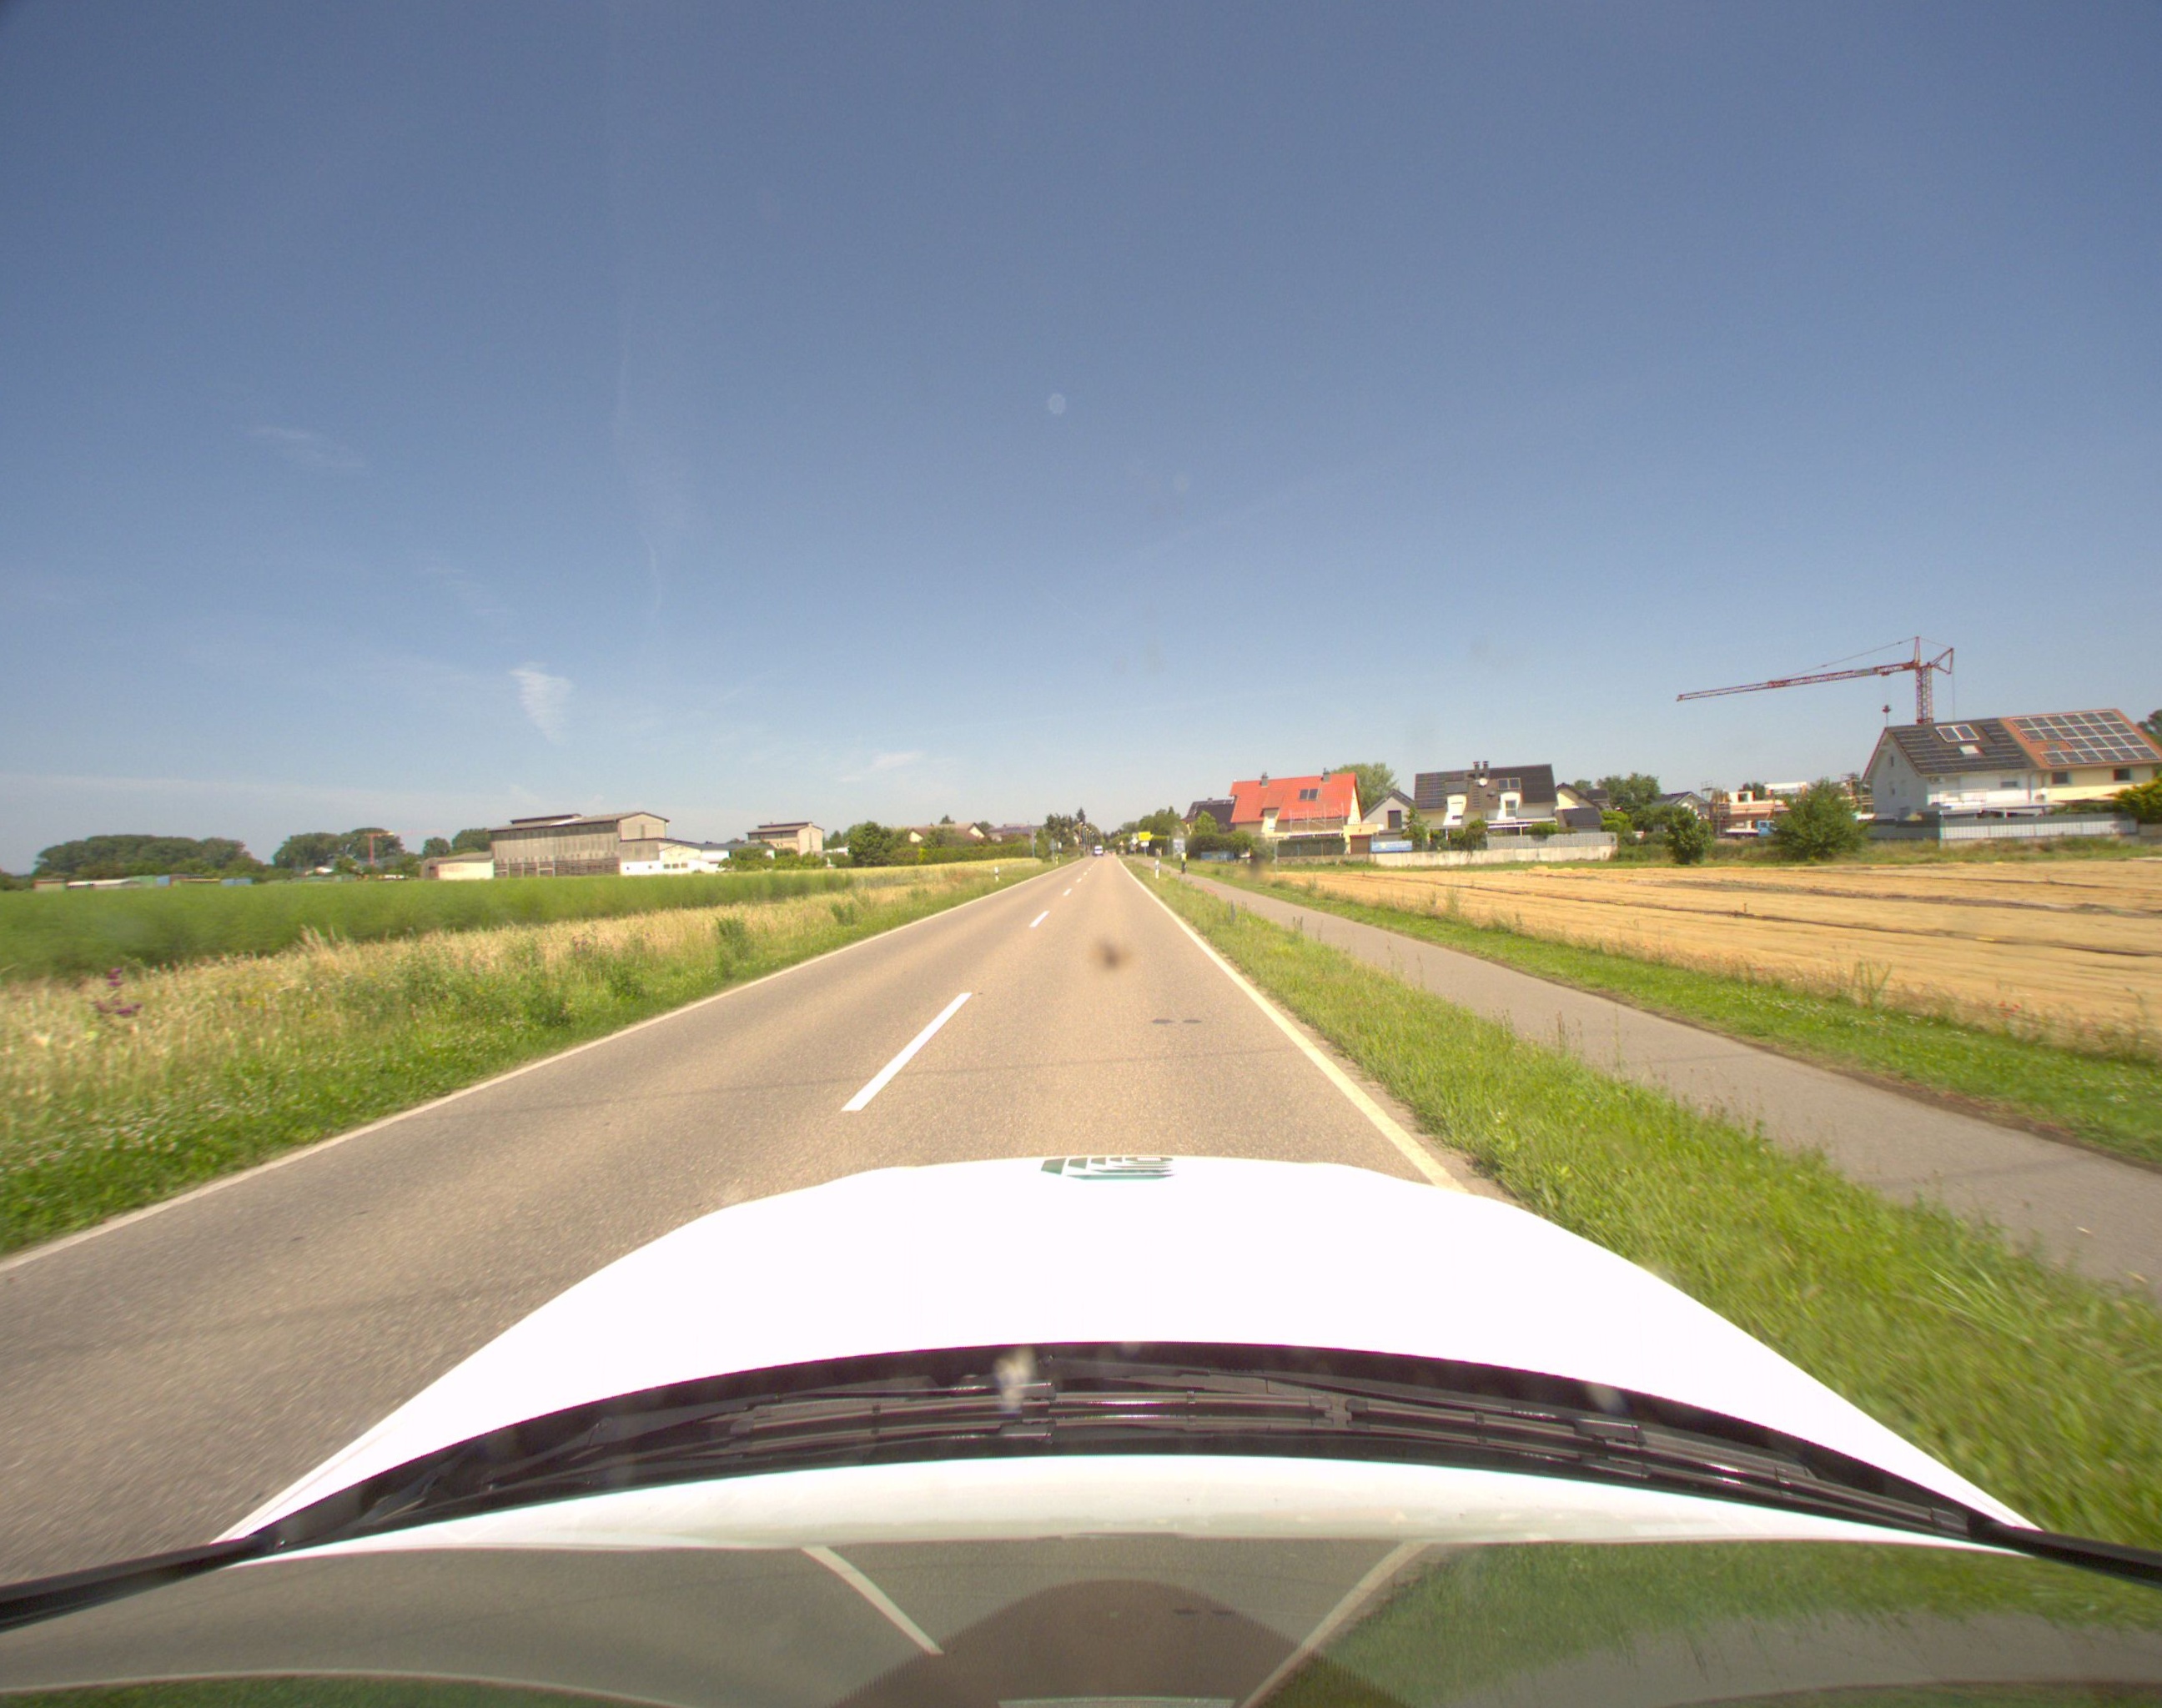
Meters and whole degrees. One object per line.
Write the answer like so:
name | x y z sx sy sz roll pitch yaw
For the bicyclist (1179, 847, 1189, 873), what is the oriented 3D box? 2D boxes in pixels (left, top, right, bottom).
bicyclist | 7.798 0.459 61.747 0.642 1.889 0.861 -1 1 1

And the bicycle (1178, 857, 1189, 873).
bicycle | 7.807 0.819 61.867 0.608 1.158 2.275 -1 1 1

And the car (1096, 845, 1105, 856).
car | 4.886 -0.858 201.193 2.069 2.542 5.875 -3 1 2

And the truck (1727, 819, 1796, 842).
truck | 76.527 -2.622 91.677 5.502 2.230 2.228 -3 0 26
